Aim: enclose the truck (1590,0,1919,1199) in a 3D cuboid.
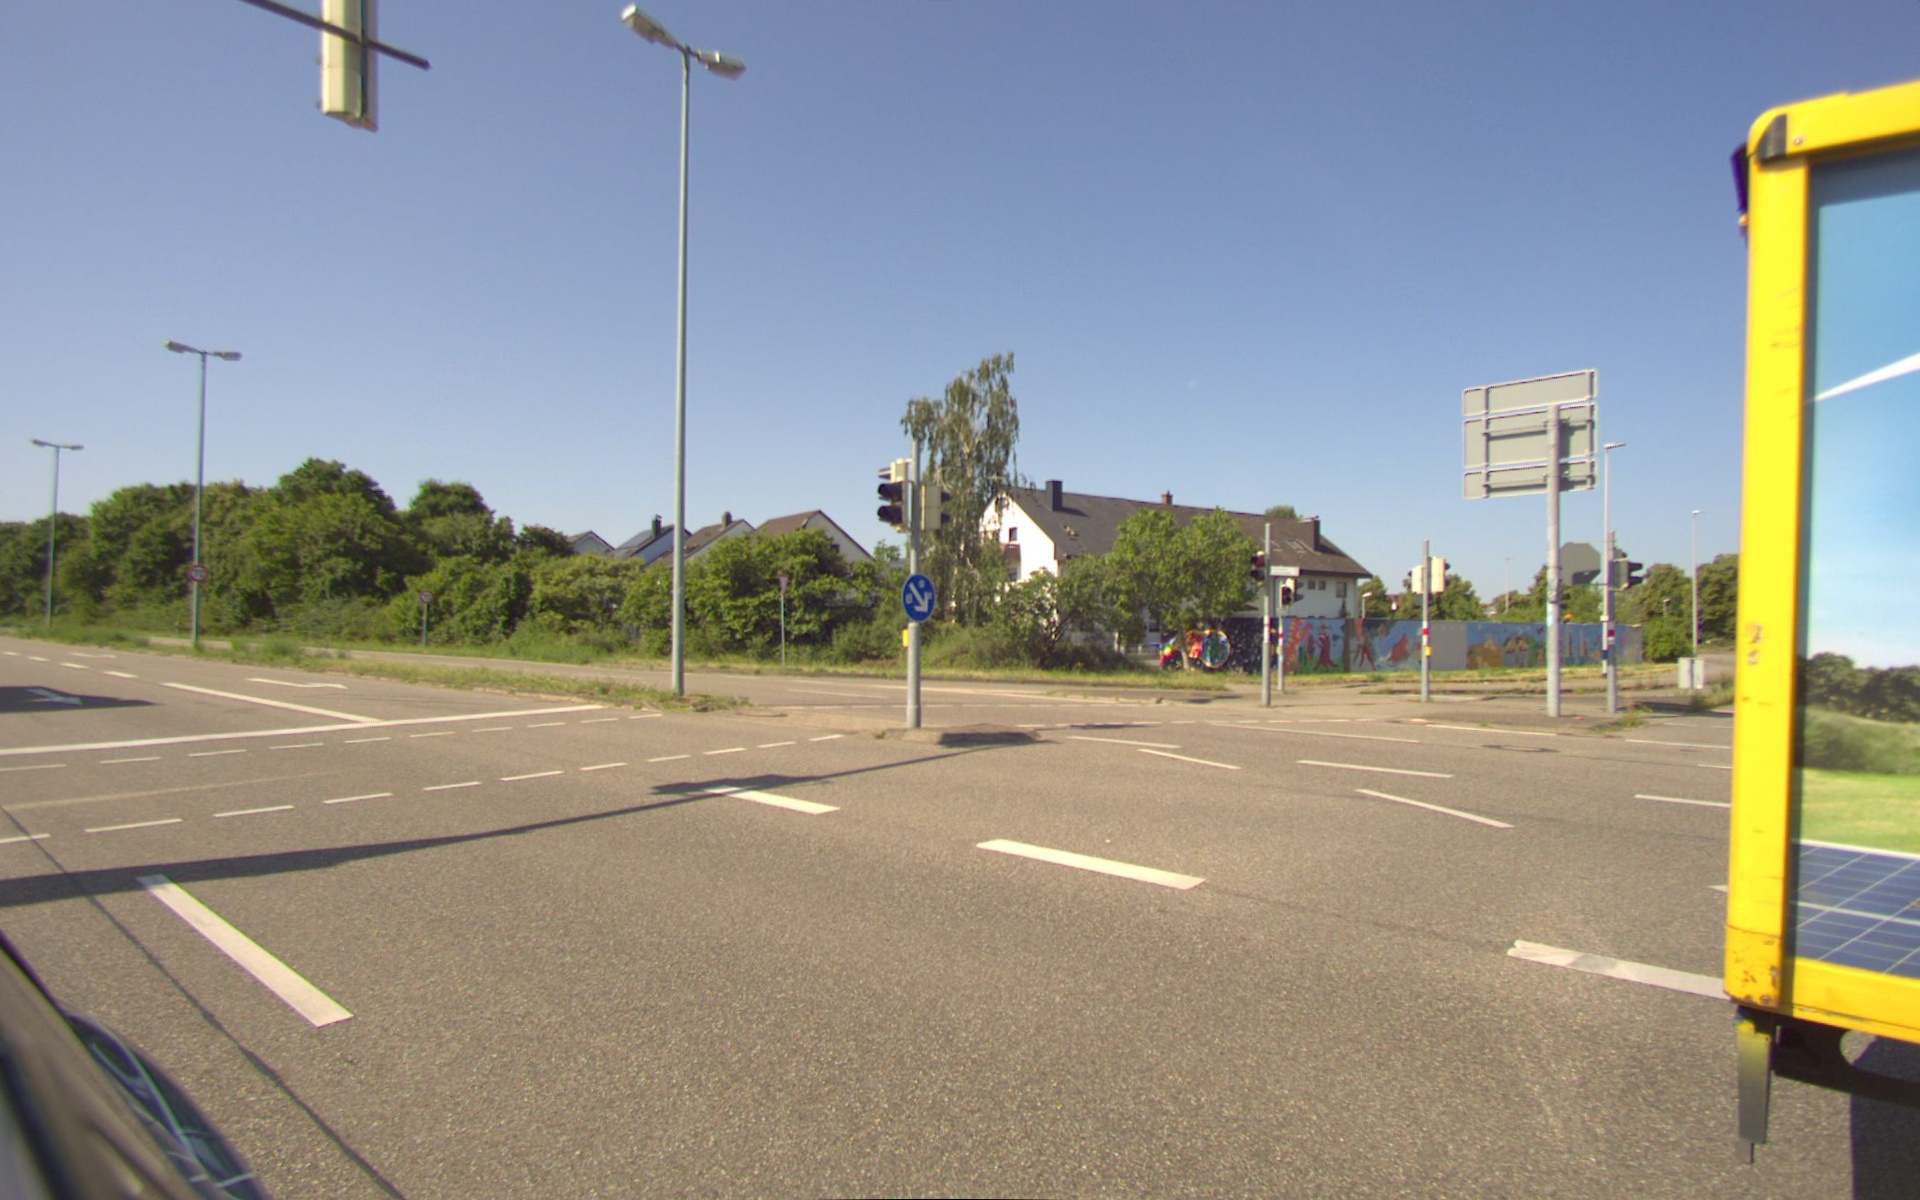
[{"bbox_3d":[3.970,0.153,0.561,5.913,2.476,2.090,0,-1,41],"label":"truck"}]
